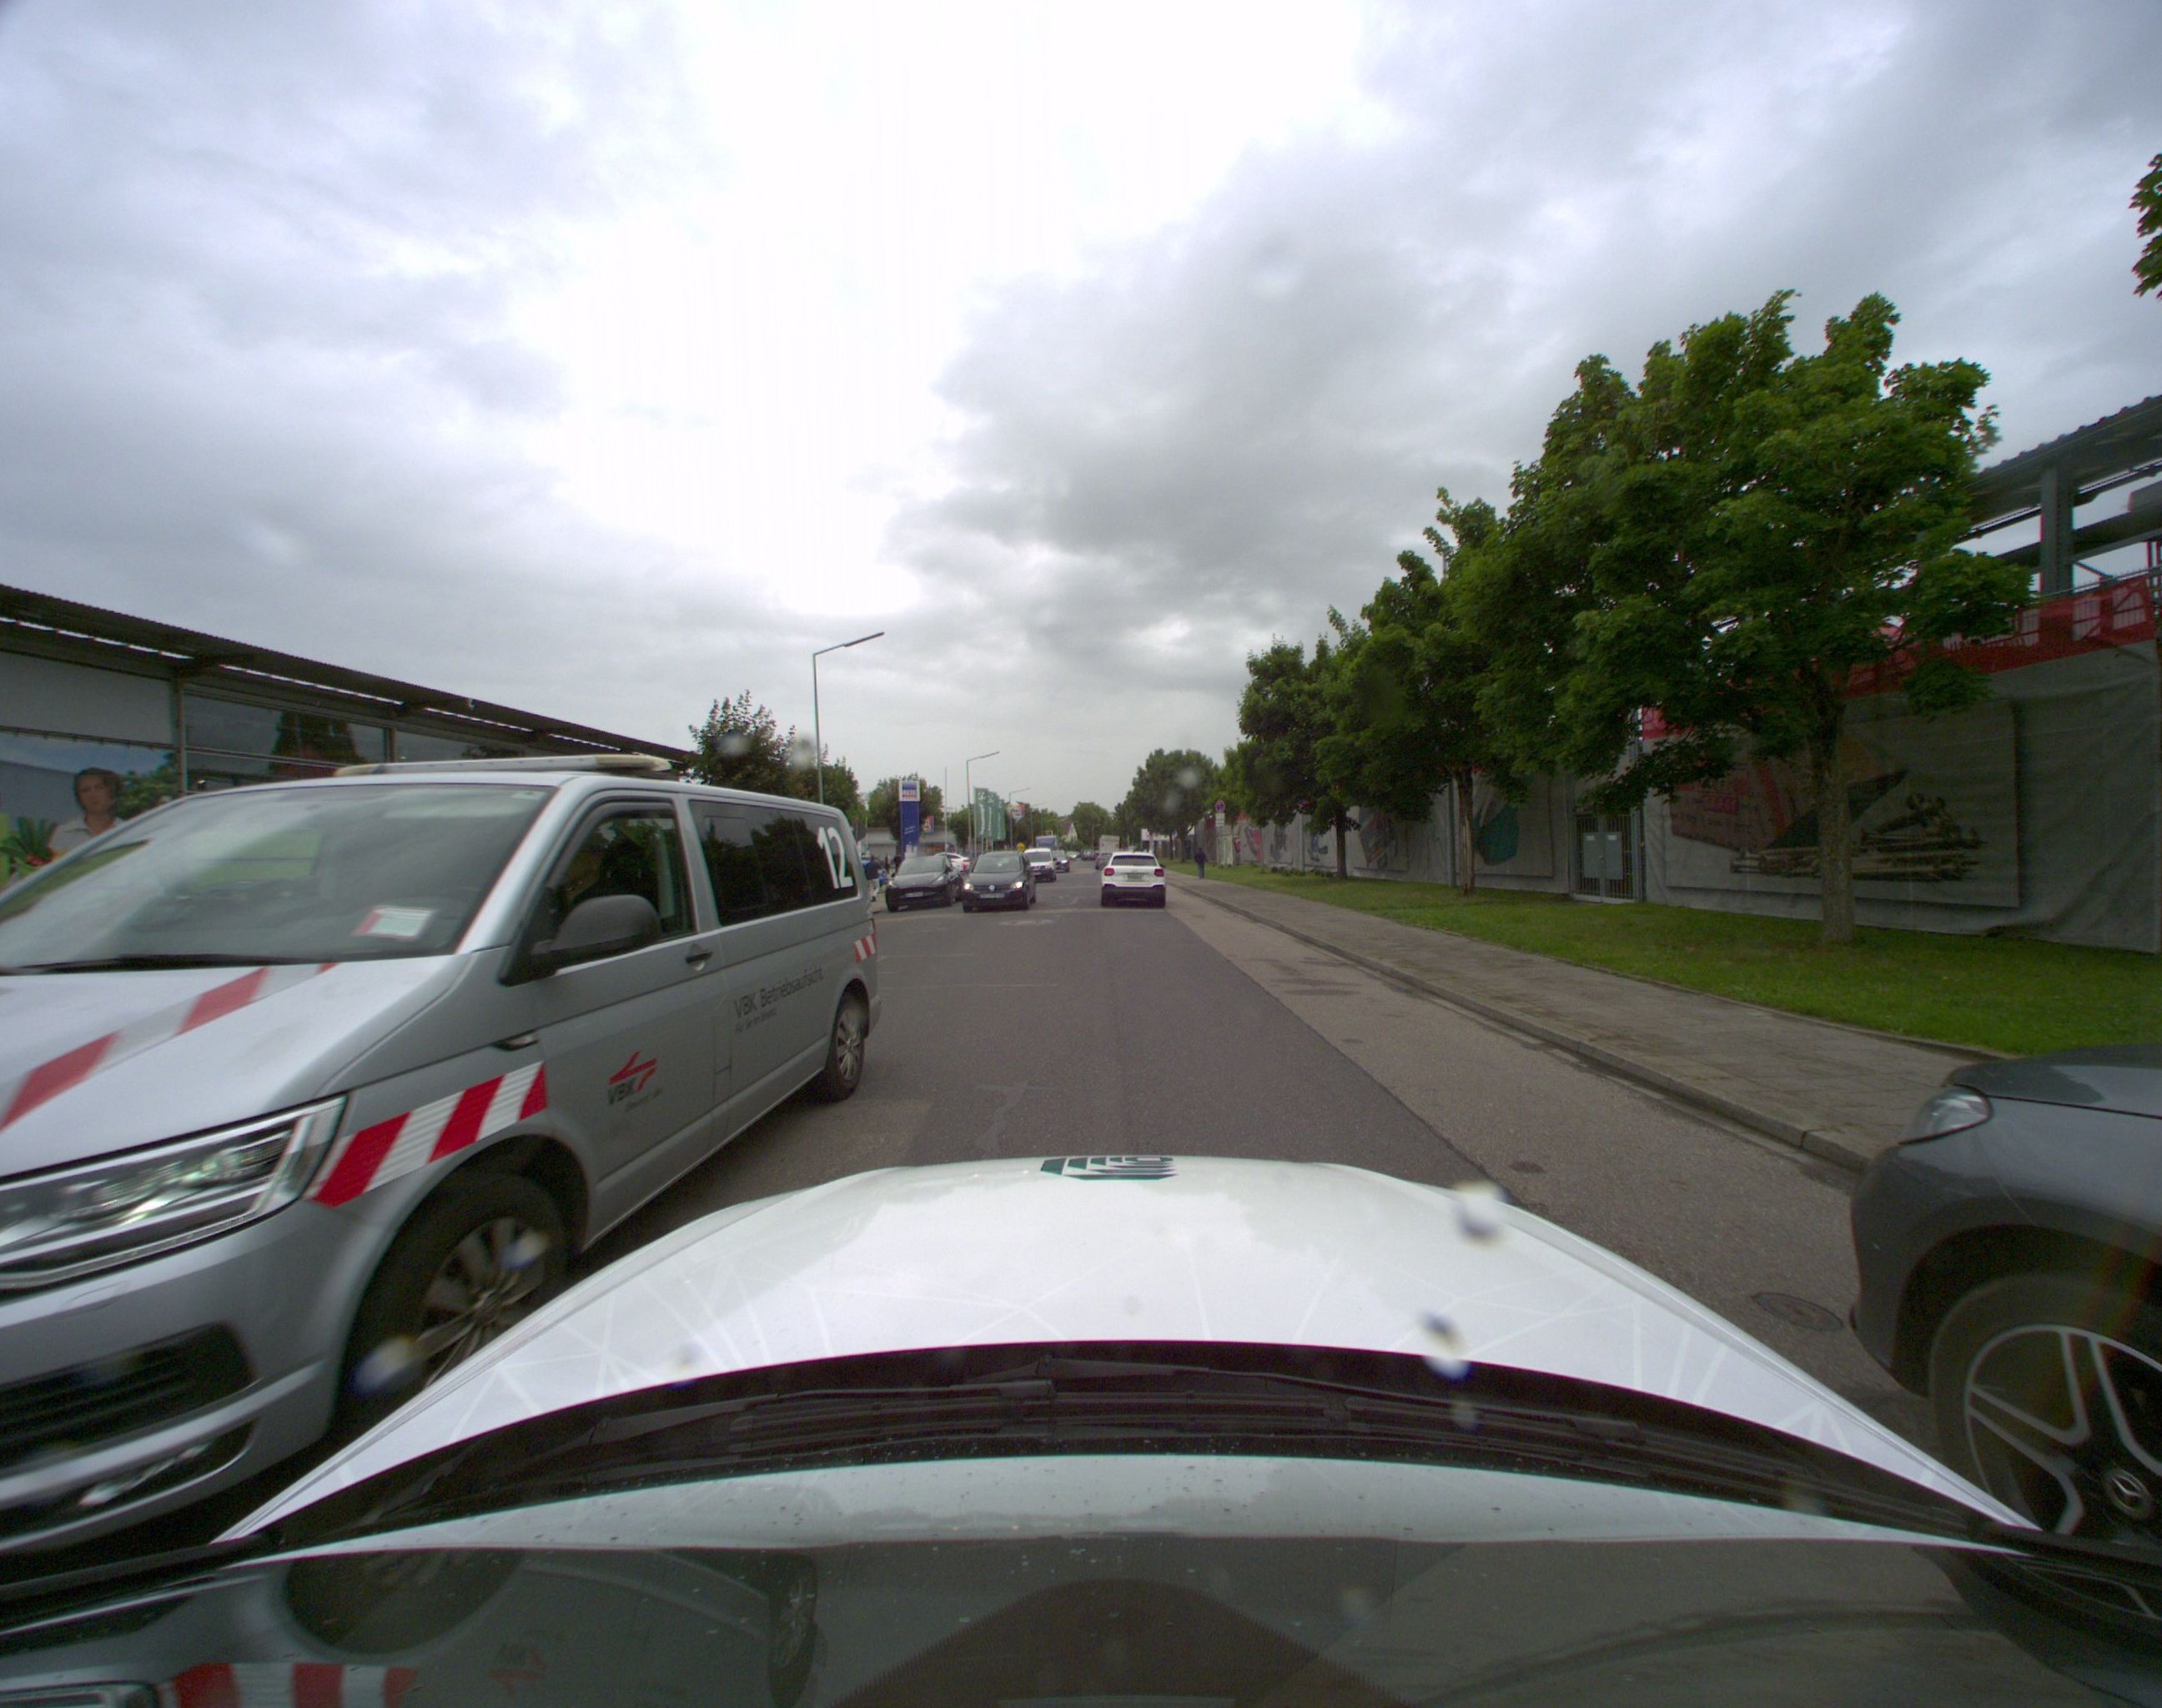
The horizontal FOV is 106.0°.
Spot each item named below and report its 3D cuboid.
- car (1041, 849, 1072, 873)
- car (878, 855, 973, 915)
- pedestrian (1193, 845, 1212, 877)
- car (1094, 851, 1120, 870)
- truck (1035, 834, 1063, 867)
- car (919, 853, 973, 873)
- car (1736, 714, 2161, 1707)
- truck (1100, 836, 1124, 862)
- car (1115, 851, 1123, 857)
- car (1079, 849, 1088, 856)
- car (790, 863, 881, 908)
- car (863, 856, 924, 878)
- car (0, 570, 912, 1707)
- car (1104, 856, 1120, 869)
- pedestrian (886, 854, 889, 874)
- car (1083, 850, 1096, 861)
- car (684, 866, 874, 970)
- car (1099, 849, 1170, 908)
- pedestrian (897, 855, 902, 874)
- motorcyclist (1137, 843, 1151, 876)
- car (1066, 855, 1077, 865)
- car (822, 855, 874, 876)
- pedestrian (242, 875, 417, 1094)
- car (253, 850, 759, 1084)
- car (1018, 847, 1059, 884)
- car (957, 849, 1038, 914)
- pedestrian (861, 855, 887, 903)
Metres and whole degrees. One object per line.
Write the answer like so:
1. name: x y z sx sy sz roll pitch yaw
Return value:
1. car: -1.786 0.517 61.167 1.925 1.684 4.498 -3 0 3
2. car: -4.797 0.889 25.741 1.940 1.526 4.404 -6 0 1
3. pedestrian: 6.317 0.357 42.470 0.915 1.635 0.853 0 -1 2
4. car: 2.093 0.510 66.908 1.931 1.367 4.000 -2 0 0
5. truck: -4.065 -0.498 104.495 2.963 3.955 6.406 -3 0 1
6. car: -10.835 0.685 65.747 4.128 1.463 1.895 -2 0 -5
7. car: 2.814 0.649 0.119 1.901 1.741 4.481 1 0 1
8. truck: 4.454 -0.693 118.616 3.125 3.585 10.047 0 0 0
9. car: 9.979 0.029 213.224 1.879 1.683 4.255 1 0 1
10. car: 0.568 -0.292 190.106 1.771 1.655 3.741 0 0 -5
11. car: -11.897 1.492 39.616 3.925 2.013 1.757 -2 0 -7
12. car: -13.964 0.971 60.836 4.199 1.463 1.948 -2 0 -8
13. car: -2.385 0.548 3.928 1.920 2.014 4.957 -2 -1 2
14. car: 4.175 1.116 109.497 1.987 1.806 3.999 0 0 -1
15. pedestrian: -16.670 0.881 70.171 0.263 1.730 0.421 -2 0 -12
16. car: 1.255 0.190 127.079 1.864 1.662 3.998 -2 0 -1
17. car: -5.328 1.040 15.085 1.693 1.367 4.517 -6 0 0
18. car: 1.469 0.635 23.625 1.879 1.531 4.255 1 0 1
19. pedestrian: -15.372 0.876 68.844 0.359 1.570 0.502 -2 0 -13
20. motorcyclist: 2.975 0.248 38.545 0.622 1.554 0.604 -2 0 2
21. car: -1.590 0.953 131.393 1.593 1.528 3.529 -3 0 1
22. car: -20.559 1.014 71.861 3.973 1.669 1.876 -2 0 0
23. pedestrian: -6.104 1.023 6.650 0.671 1.621 0.653 -5 0 1
24. car: -5.478 0.884 8.795 1.858 1.691 4.731 -5 0 2
25. car: -2.198 0.568 43.408 1.683 1.761 4.138 -3 0 3
26. car: -2.237 0.701 22.829 1.723 1.571 3.947 -3 0 1
27. pedestrian: -7.678 0.917 30.208 0.773 1.715 0.696 -1 0 -4
